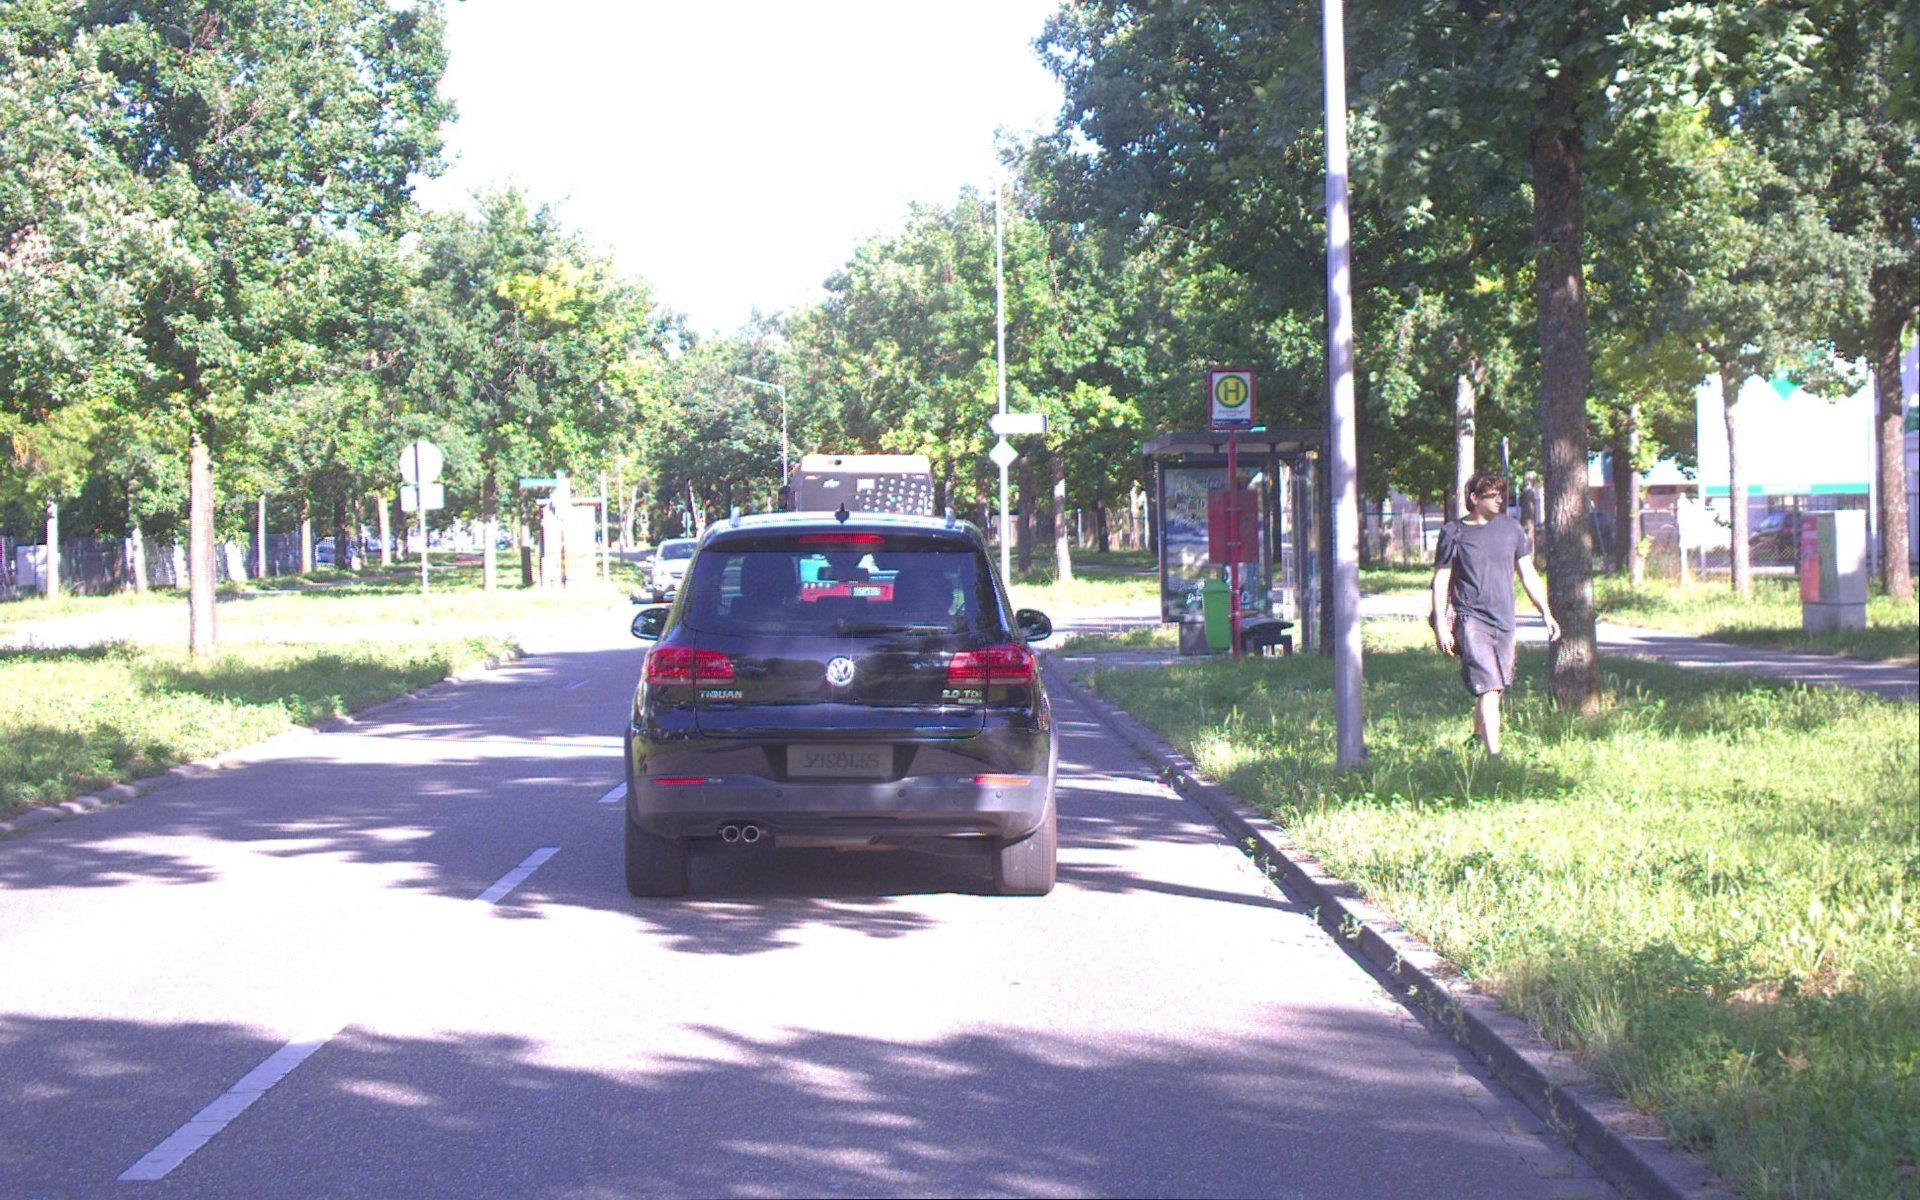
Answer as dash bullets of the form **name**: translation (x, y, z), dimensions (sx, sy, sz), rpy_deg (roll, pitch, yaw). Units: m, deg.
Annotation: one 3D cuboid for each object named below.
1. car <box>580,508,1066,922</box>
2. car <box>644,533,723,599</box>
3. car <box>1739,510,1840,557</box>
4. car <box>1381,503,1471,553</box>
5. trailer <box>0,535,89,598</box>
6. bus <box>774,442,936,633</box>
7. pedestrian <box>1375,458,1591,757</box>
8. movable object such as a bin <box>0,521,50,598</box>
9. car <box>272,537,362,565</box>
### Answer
- **car**: translation (-0.581, 0.404, 15.972), dimensions (1.936, 1.650, 4.427), rpy_deg (0, 2, -1)
- **car**: translation (-6.668, -0.841, 82.545), dimensions (1.743, 1.460, 4.428), rpy_deg (-2, 2, -6)
- **car**: translation (25.158, -2.025, 104.373), dimensions (1.764, 1.379, 3.769), rpy_deg (-1, 1, -6)
- **car**: translation (16.986, -2.621, 125.547), dimensions (2.184, 1.738, 4.643), rpy_deg (-1, 1, -6)
- **trailer**: translation (-28.856, -1.072, 108.103), dimensions (2.102, 1.908, 3.741), rpy_deg (-1, 1, -2)
- **bus**: translation (-2.229, -1.280, 68.892), dimensions (2.764, 3.444, 11.213), rpy_deg (-1, 1, -4)
- **pedestrian**: translation (2.979, 0.030, 19.701), dimensions (1.019, 1.646, 1.100), rpy_deg (-1, 1, -1)
- **movable object such as a bin**: translation (-28.299, -1.203, 100.981), dimensions (2.102, 2.209, 4.461), rpy_deg (-1, 1, -2)
- **car**: translation (-32.739, -2.480, 175.154), dimensions (4.198, 1.317, 1.941), rpy_deg (-1, 1, 1)
